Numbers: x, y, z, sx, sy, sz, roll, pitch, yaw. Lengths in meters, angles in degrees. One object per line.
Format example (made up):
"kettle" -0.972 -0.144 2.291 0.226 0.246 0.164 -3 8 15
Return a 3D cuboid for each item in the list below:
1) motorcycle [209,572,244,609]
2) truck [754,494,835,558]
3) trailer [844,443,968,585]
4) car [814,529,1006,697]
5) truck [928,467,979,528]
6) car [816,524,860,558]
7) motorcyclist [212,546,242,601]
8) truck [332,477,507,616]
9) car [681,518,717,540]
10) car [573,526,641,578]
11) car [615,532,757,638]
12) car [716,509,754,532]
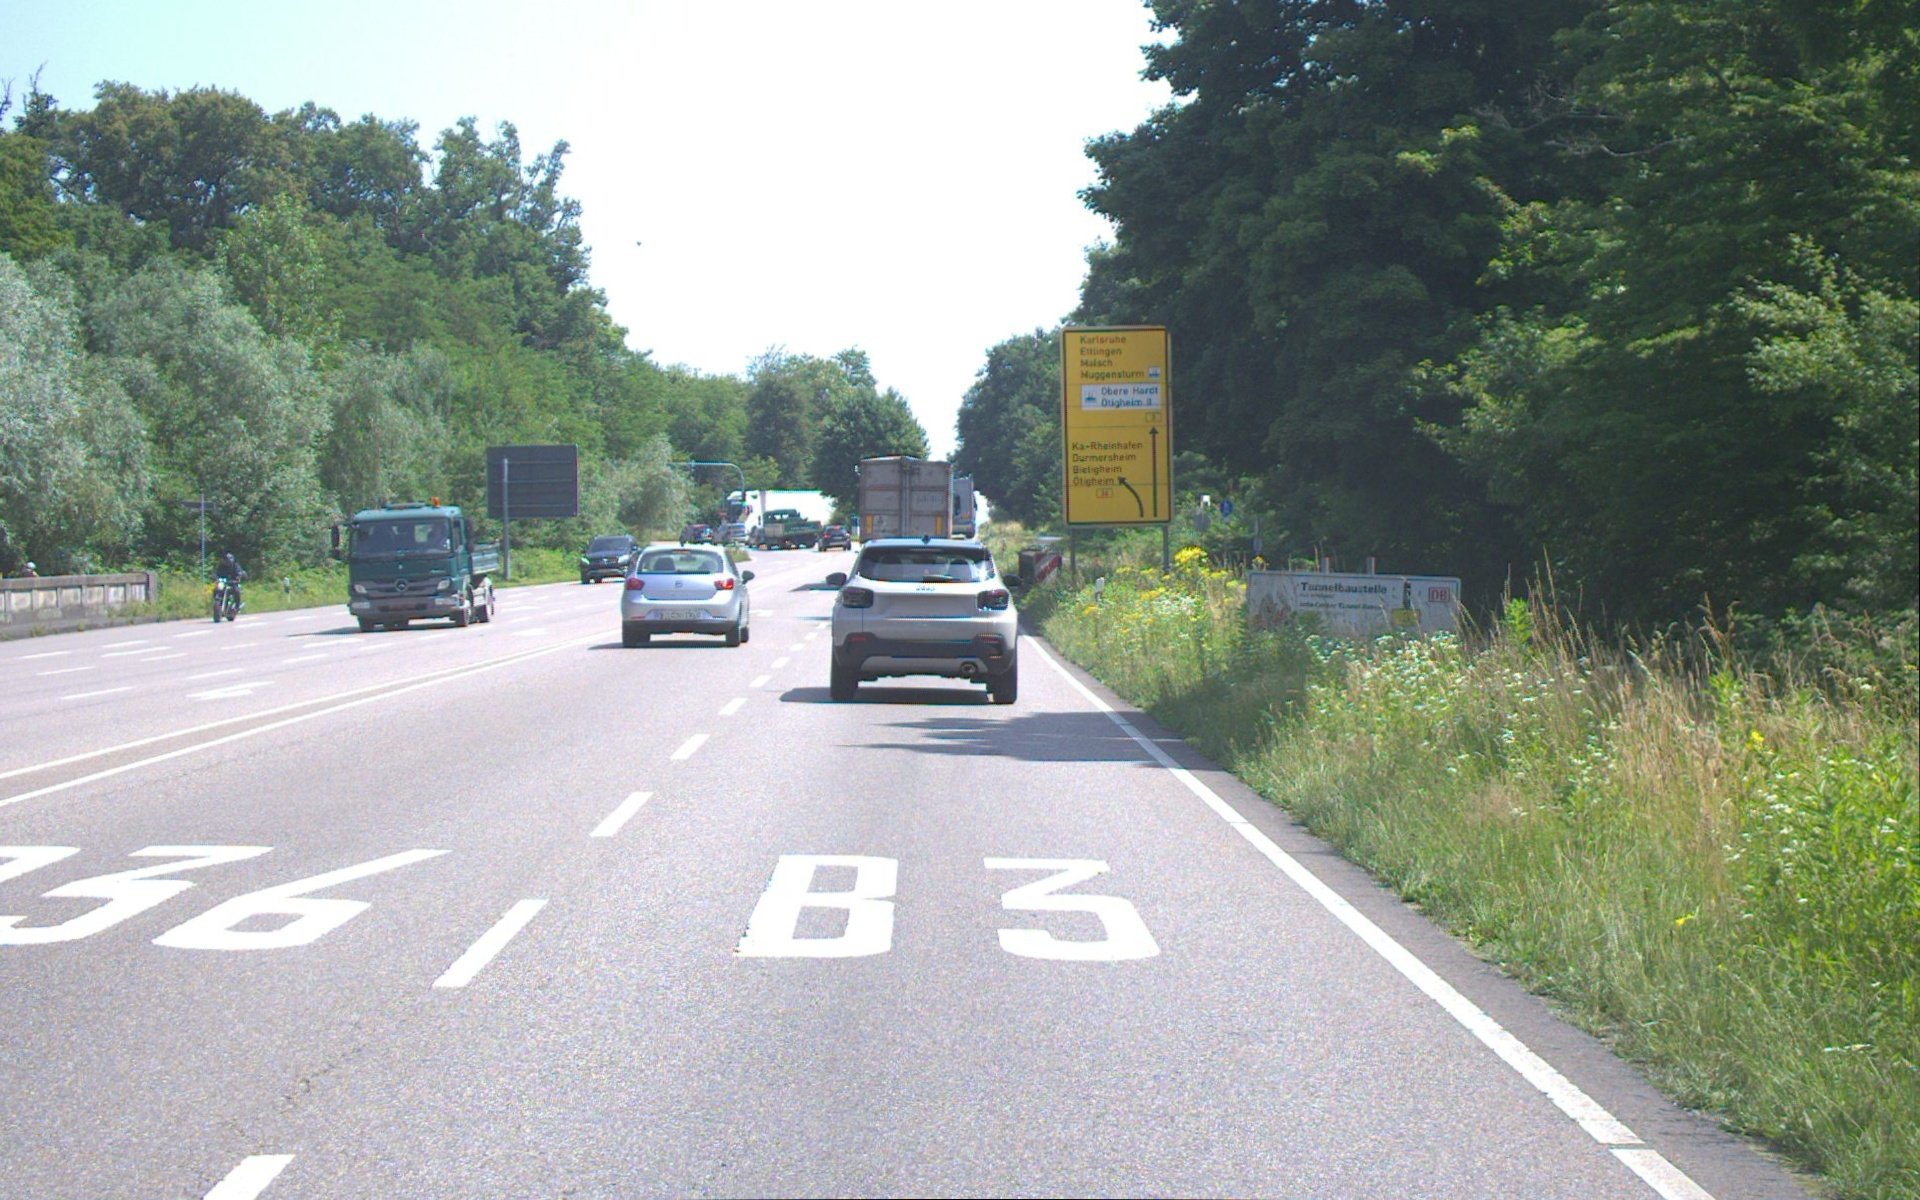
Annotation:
"motorcycle" -18.236 -0.247 85.524 0.517 0.890 1.910 -2 1 -2
"truck" -11.080 -4.893 229.067 3.645 4.091 9.512 -2 1 -13
"trailer" -1.520 -2.512 102.666 3.382 3.975 10.804 0 1 1
"car" -0.435 0.082 33.620 1.767 1.529 4.000 0 1 1
"truck" -0.483 -7.181 242.802 3.497 4.173 10.784 0 1 -1
"car" -7.481 -3.581 210.253 1.993 2.007 4.555 -2 1 -11
"motorcyclist" -18.250 -0.663 85.597 0.577 1.349 0.754 -2 1 -2
"truck" -11.293 -1.157 72.348 2.454 2.647 6.491 -3 1 0
"car" -19.416 -5.259 255.400 1.993 1.579 4.001 0 1 -14
"car" -13.304 -1.810 129.656 1.993 1.875 4.960 -2 1 0
"car" -3.875 -0.249 49.091 1.666 1.425 3.828 1 1 1
"car" -16.010 -5.659 244.664 1.993 1.579 4.001 0 1 -14
